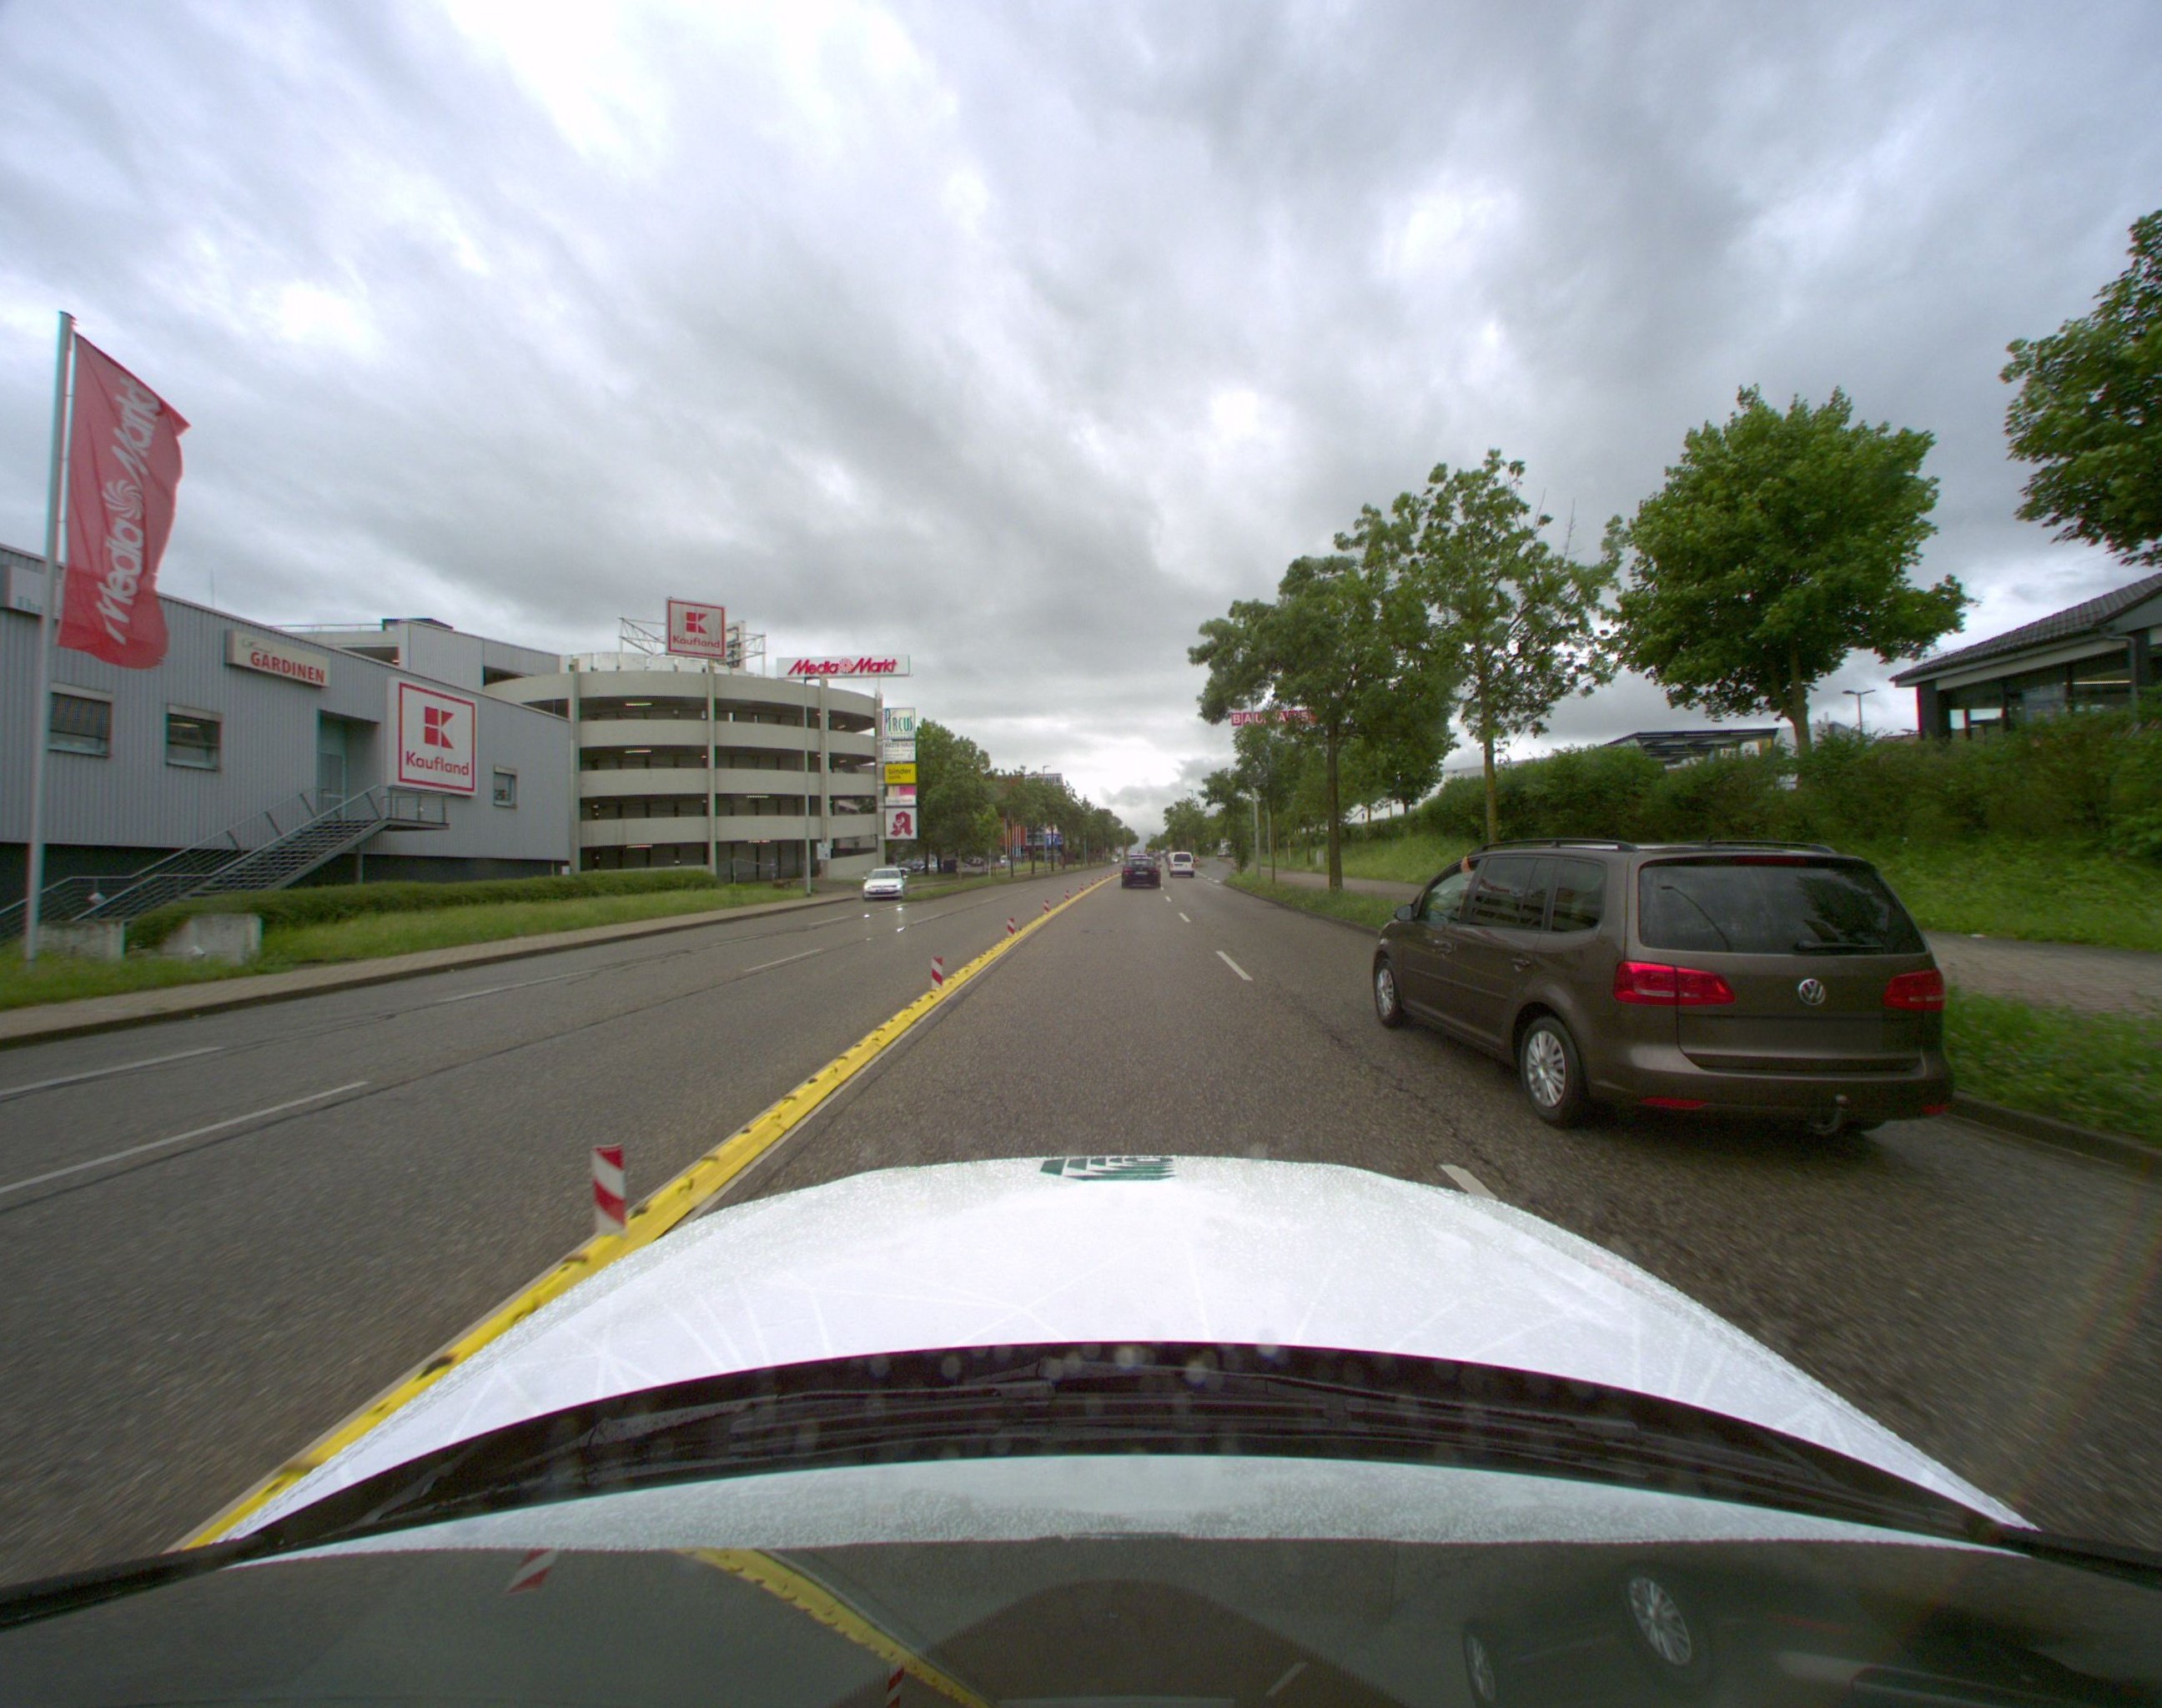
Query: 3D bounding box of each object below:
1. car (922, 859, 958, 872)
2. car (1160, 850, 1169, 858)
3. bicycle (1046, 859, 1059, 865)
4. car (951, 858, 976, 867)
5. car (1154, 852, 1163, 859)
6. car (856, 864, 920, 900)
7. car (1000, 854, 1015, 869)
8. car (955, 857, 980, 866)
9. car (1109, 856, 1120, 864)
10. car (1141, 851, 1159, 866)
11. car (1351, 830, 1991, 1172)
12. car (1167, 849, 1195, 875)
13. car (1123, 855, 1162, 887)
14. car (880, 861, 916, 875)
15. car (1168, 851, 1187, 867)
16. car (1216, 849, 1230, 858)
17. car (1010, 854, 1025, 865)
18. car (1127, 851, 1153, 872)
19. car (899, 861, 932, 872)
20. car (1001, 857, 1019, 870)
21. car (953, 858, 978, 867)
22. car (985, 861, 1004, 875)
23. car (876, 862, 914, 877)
[{"bbox_3d":[-19.523,1.569,112.779,4.588,1.745,1.965,0,1,-3],"label":"car"},{"bbox_3d":[16.686,-0.011,162.618,1.786,1.510,4.004,0,-1,4],"label":"car"},{"bbox_3d":[-4.886,1.385,140.370,2.064,0.935,1.096,3,0,9],"label":"bicycle"},{"bbox_3d":[-20.238,1.427,140.299,4.099,1.510,1.817,0,1,-3],"label":"car"},{"bbox_3d":[16.748,0.375,175.868,1.787,1.510,4.002,0,-1,2],"label":"car"},{"bbox_3d":[-8.920,1.239,38.006,1.894,1.408,4.422,-3,0,-1],"label":"car"},{"bbox_3d":[-11.547,1.155,127.650,2.109,2.096,5.117,0,1,-3],"label":"car"},{"bbox_3d":[-20.069,1.332,144.554,4.181,1.510,1.817,0,1,-3],"label":"car"},{"bbox_3d":[7.284,1.322,176.972,1.858,1.553,4.582,-4,0,5],"label":"car"},{"bbox_3d":[7.398,0.513,87.734,1.786,1.510,4.004,0,-1,4],"label":"car"},{"bbox_3d":[3.443,0.688,5.902,1.679,1.581,4.220,0,0,1],"label":"car"},{"bbox_3d":[7.277,0.555,59.310,1.819,1.759,4.005,0,0,4],"label":"car"},{"bbox_3d":[2.972,0.774,39.380,1.819,1.468,4.005,0,0,4],"label":"car"},{"bbox_3d":[-24.838,1.930,110.622,4.593,1.745,2.129,-1,1,-6],"label":"car"},{"bbox_3d":[9.561,0.488,80.726,1.785,1.510,4.006,0,-1,6],"label":"car"},{"bbox_3d":[24.411,-0.129,140.256,1.780,1.510,4.019,0,-1,18],"label":"car"},{"bbox_3d":[-11.110,0.967,142.795,2.128,1.773,4.613,0,1,3],"label":"car"},{"bbox_3d":[4.233,0.552,58.815,1.786,1.510,4.004,0,-1,4],"label":"car"},{"bbox_3d":[-24.700,1.797,121.678,4.599,1.510,2.023,0,1,-3],"label":"car"},{"bbox_3d":[-10.635,1.457,121.871,2.031,1.762,4.949,0,1,3],"label":"car"},{"bbox_3d":[-20.260,1.427,142.539,4.099,1.510,1.817,0,1,-3],"label":"car"},{"bbox_3d":[-11.326,1.817,107.436,1.926,1.608,4.712,0,1,1],"label":"car"},{"bbox_3d":[-24.552,2.041,107.604,4.593,1.745,1.963,-1,1,-6],"label":"car"}]
